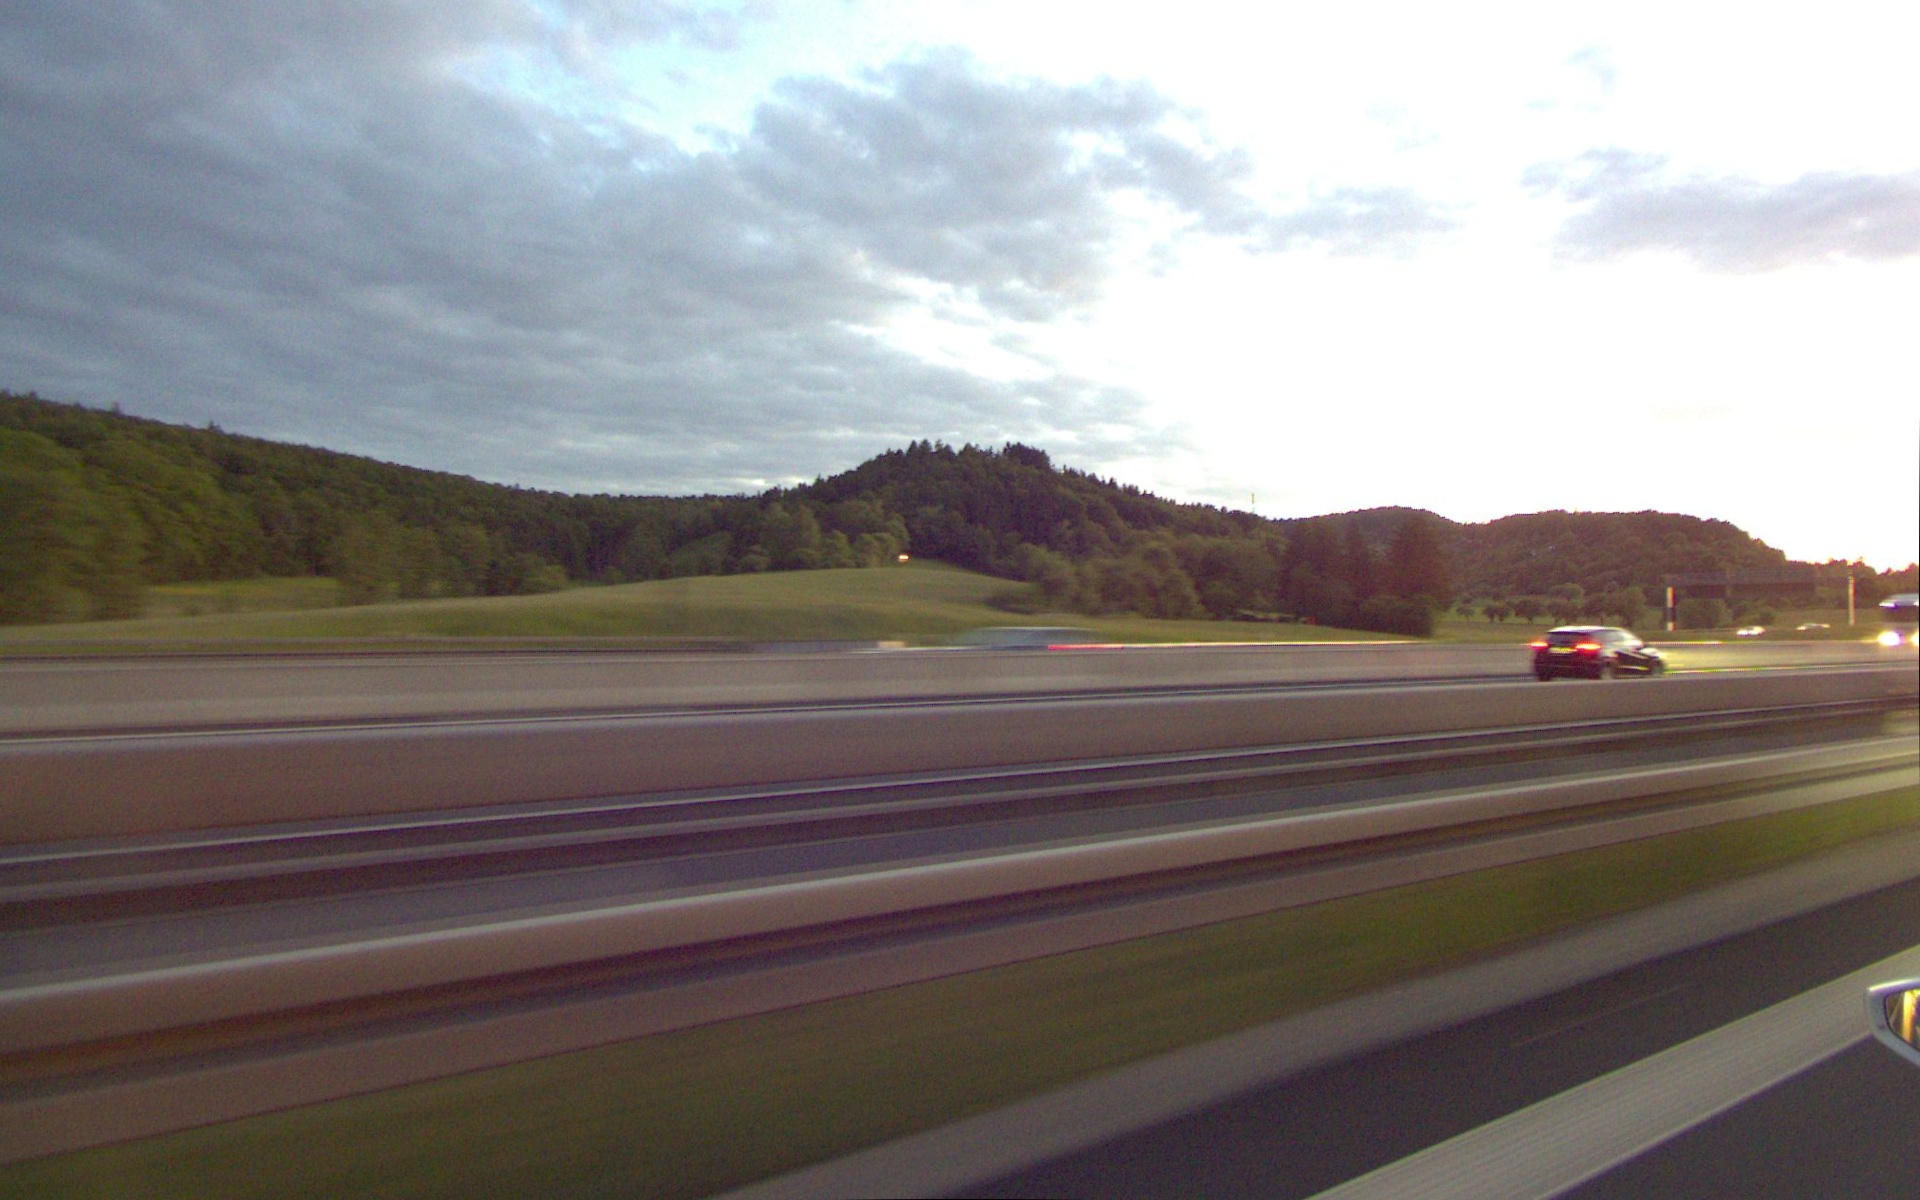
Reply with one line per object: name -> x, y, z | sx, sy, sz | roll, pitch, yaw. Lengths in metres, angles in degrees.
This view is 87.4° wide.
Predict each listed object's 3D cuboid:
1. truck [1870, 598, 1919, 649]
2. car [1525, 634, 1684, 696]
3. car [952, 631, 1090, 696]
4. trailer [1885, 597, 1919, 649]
truck -> 70.528, 1.779, 74.297 | 5.434, 3.666, 3.294 | 2, -2, -31
car -> 17.708, 1.742, 27.552 | 4.467, 1.582, 1.863 | 2, -2, -30
car -> 1.790, 1.801, 29.291 | 3.708, 1.729, 1.674 | 1, -1, -30
trailer -> 76.584, 1.891, 77.937 | 13.726, 3.815, 3.311 | 2, -2, -31
